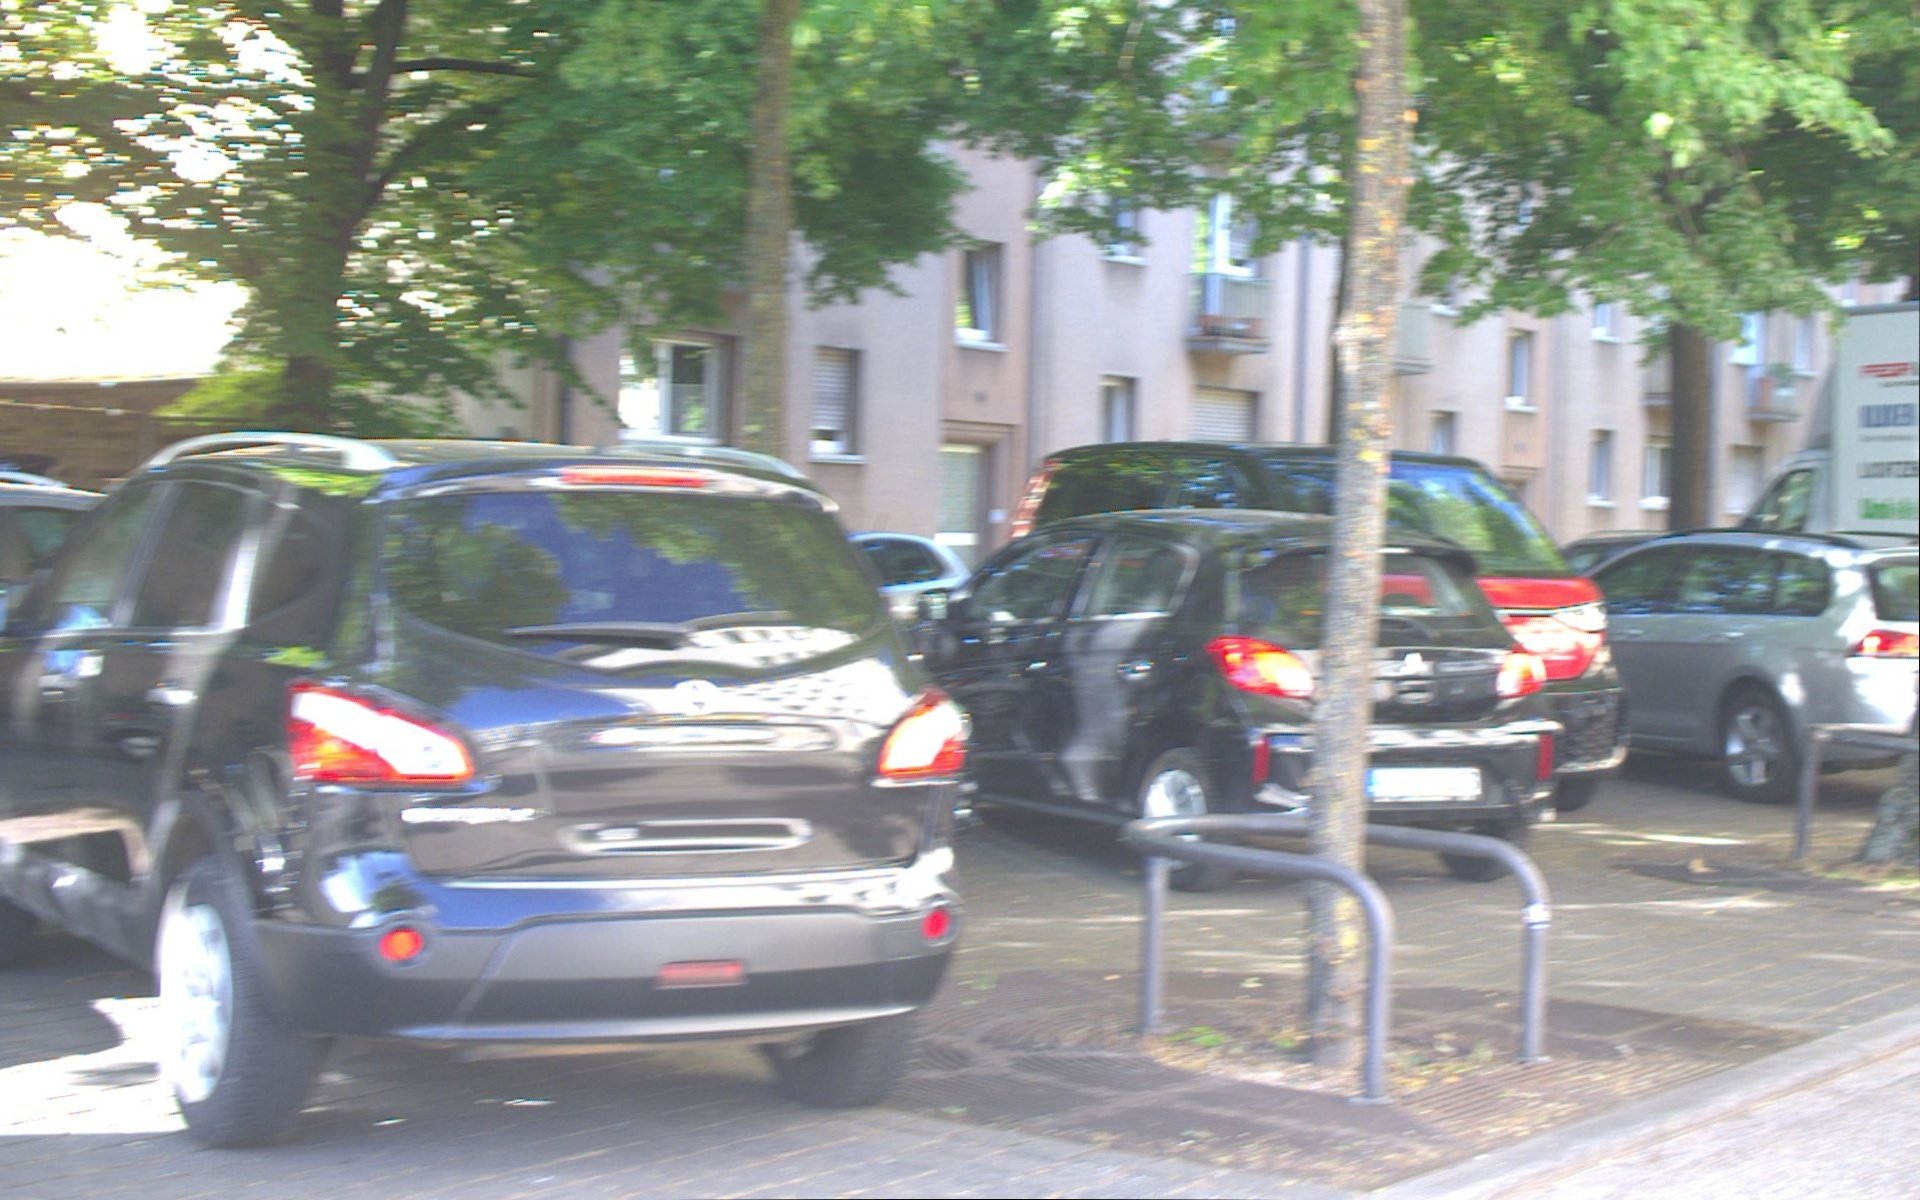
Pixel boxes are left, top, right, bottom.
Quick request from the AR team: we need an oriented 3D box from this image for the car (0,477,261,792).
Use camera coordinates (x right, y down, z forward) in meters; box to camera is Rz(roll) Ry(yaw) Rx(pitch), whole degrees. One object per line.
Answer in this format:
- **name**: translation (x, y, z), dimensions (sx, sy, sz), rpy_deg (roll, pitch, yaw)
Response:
- **car**: translation (-5.304, 0.130, 16.455), dimensions (1.756, 1.481, 3.943), rpy_deg (2, 2, 26)

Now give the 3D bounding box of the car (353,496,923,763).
- **car**: translation (-1.936, 0.140, 21.838), dimensions (1.756, 1.481, 3.943), rpy_deg (2, 2, 26)

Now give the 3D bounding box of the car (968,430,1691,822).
- **car**: translation (1.843, 0.061, 18.826), dimensions (1.929, 1.867, 4.504), rpy_deg (1, 2, -23)

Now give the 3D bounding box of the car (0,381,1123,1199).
- **car**: translation (-1.472, 0.307, 9.152), dimensions (1.831, 1.665, 4.338), rpy_deg (1, 3, -27)

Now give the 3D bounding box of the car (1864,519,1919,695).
- **car**: translation (9.669, 0.142, 28.816), dimensions (1.842, 1.497, 4.001), rpy_deg (2, 2, -25)

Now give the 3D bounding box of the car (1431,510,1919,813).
- **car**: translation (4.662, 0.281, 19.953), dimensions (1.807, 1.502, 4.345), rpy_deg (1, 2, -23)

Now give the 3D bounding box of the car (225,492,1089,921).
- **car**: translation (-1.371, 0.323, 13.879), dimensions (1.815, 1.417, 3.949), rpy_deg (1, 2, -33)

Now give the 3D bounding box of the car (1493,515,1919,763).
- **car**: translation (5.680, 0.216, 23.977), dimensions (1.807, 1.502, 4.345), rpy_deg (1, 2, -23)

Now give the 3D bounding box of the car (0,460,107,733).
- **car**: translation (-7.144, -0.049, 19.903), dimensions (1.757, 1.634, 4.239), rpy_deg (3, 2, 31)

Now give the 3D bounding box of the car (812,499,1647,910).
- **car**: translation (1.005, 0.351, 14.802), dimensions (1.755, 1.476, 3.824), rpy_deg (1, 2, -28)

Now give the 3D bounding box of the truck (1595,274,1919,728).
- **truck**: translation (7.993, -0.710, 25.586), dimensions (2.538, 3.282, 7.327), rpy_deg (1, 1, -25)

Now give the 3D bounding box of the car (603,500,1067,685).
- **car**: translation (-0.986, -0.085, 29.599), dimensions (1.767, 1.430, 4.335), rpy_deg (3, 2, 33)
